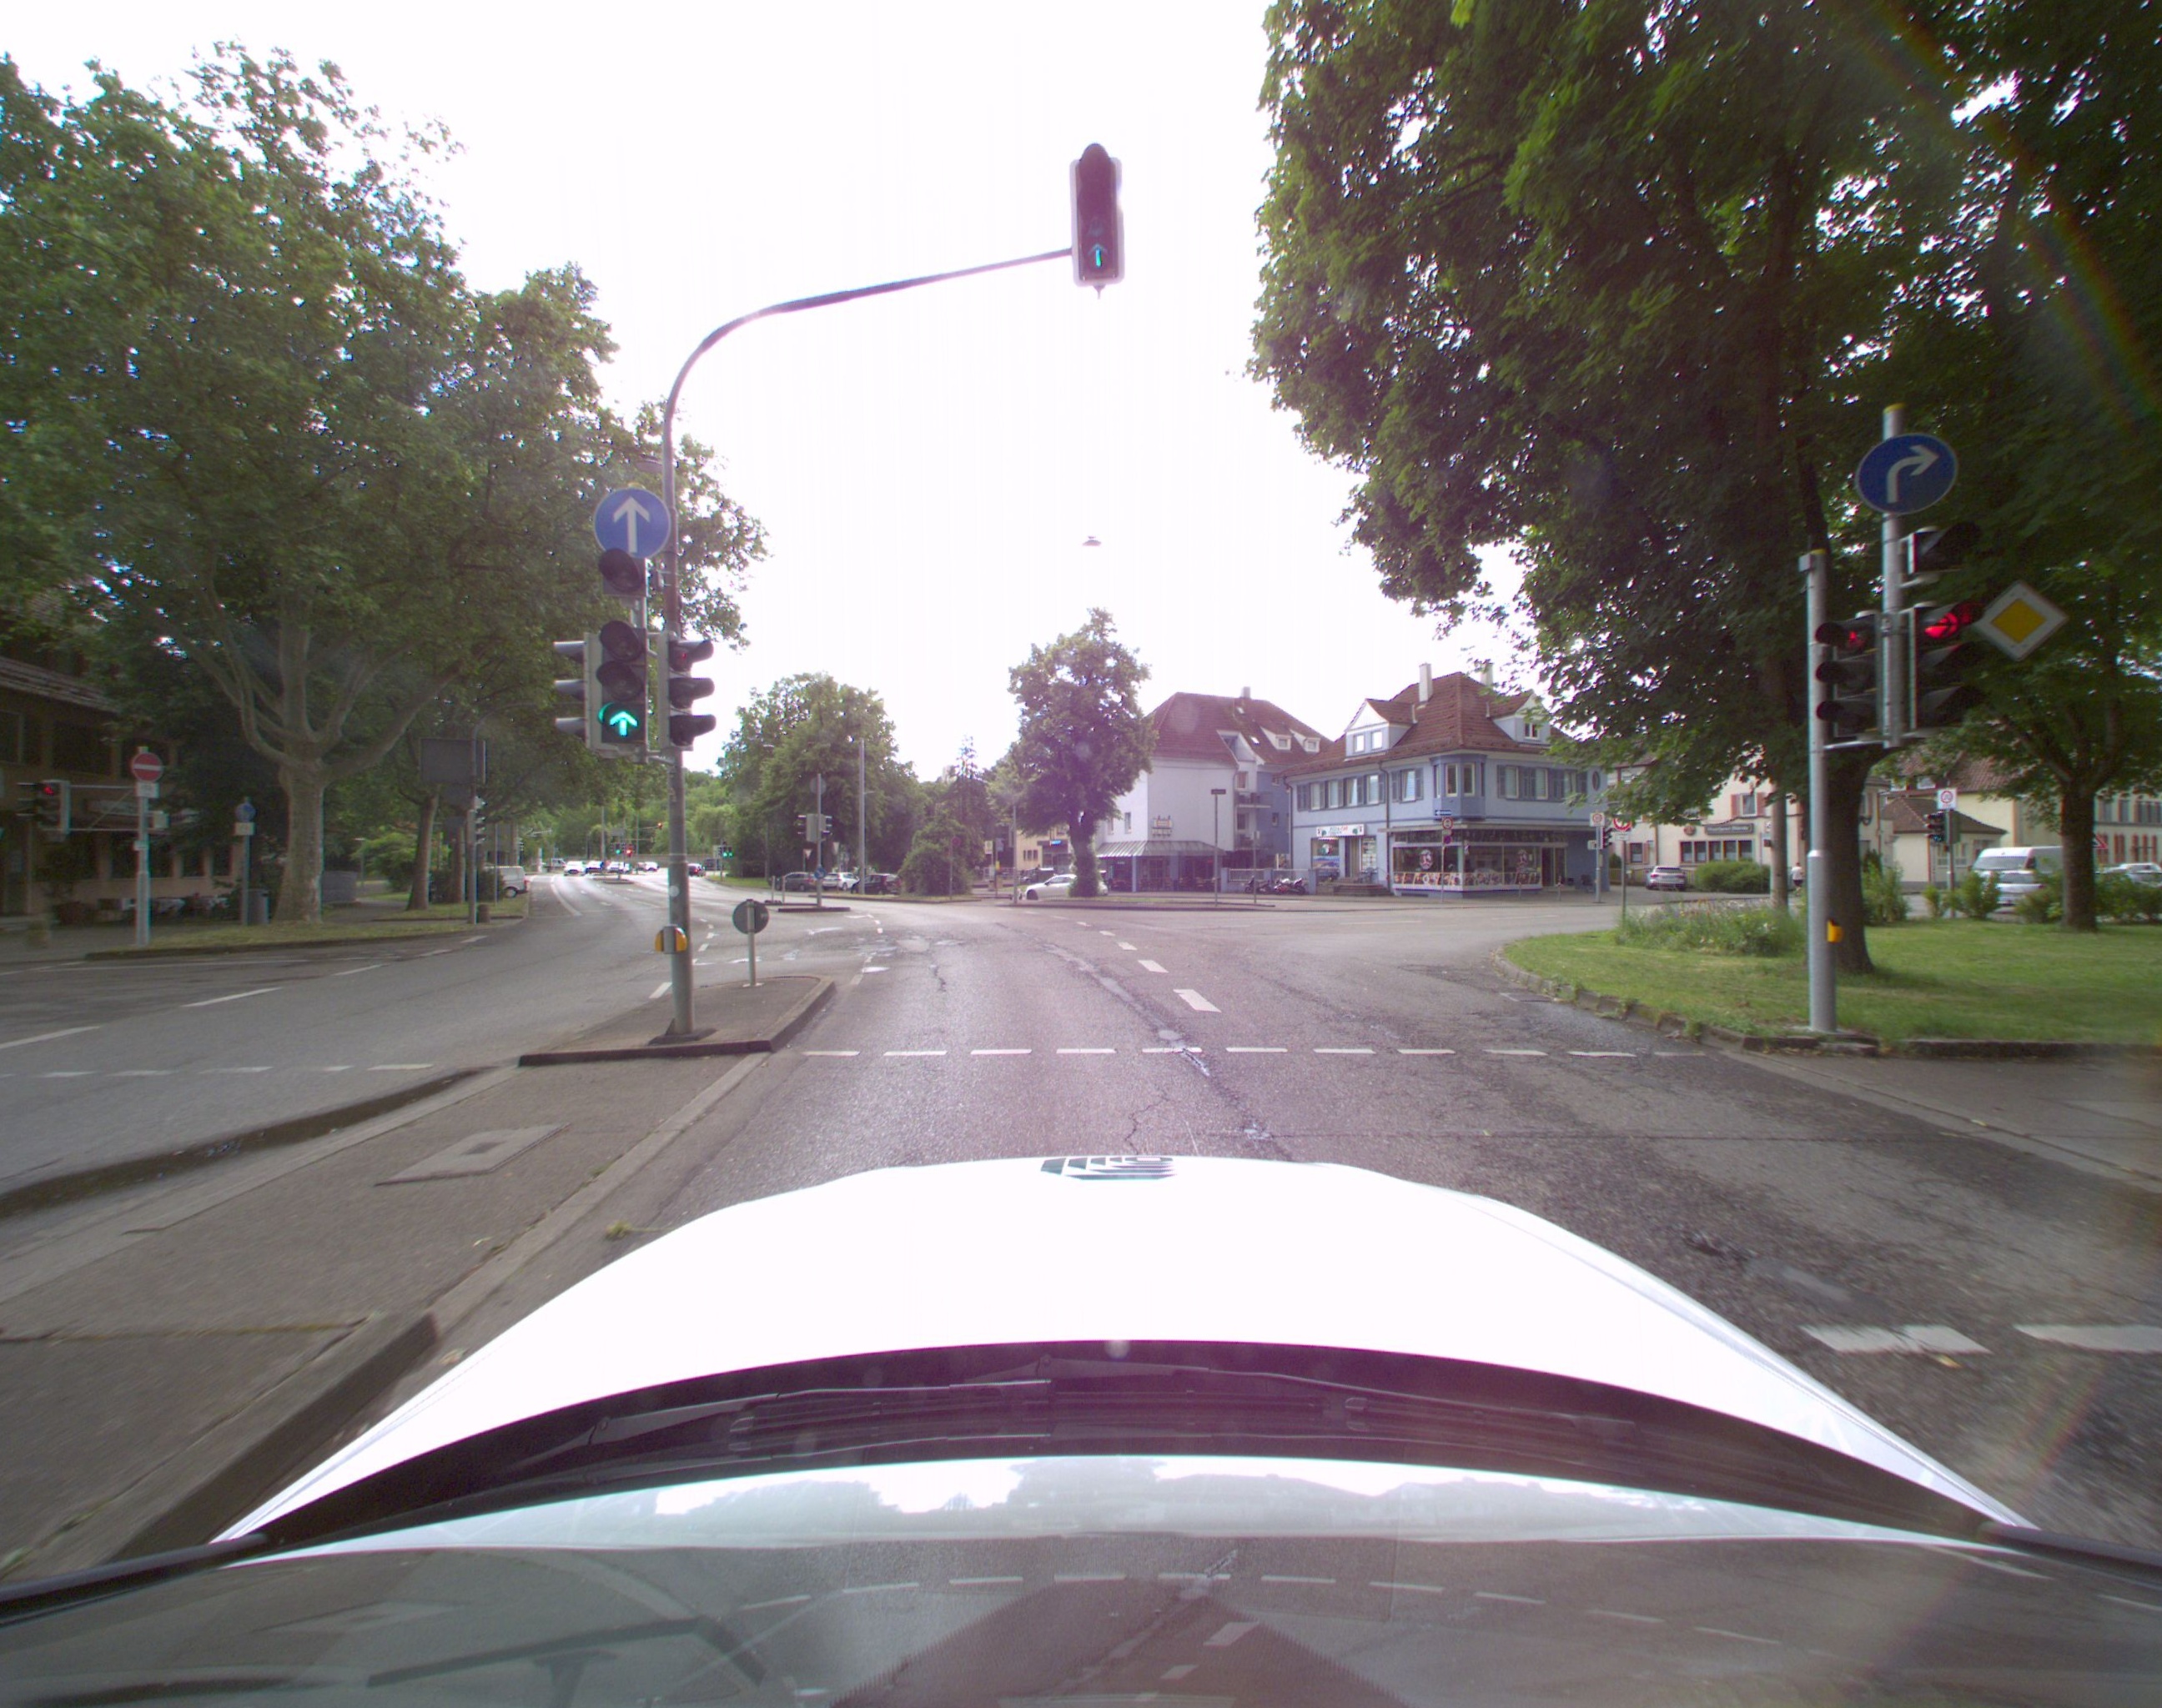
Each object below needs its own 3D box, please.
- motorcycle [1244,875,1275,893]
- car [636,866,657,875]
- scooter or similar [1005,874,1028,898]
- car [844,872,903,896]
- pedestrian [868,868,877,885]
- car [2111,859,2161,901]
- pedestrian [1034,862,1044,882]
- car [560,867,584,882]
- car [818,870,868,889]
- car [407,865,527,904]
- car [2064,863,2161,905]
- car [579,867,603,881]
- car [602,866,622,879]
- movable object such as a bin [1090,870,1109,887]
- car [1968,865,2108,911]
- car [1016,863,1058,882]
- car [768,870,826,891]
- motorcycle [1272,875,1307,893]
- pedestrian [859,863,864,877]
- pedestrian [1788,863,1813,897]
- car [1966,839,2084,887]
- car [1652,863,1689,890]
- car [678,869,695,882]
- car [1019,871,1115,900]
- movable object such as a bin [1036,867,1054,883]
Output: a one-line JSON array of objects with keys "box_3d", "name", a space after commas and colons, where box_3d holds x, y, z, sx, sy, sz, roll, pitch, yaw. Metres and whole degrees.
[{"box_3d": [10.112, 1.691, 46.132, 0.492, 1.031, 1.704, 0, -1, -44], "name": "motorcycle"}, {"box_3d": [-75.538, 2.838, 141.679, 3.062, 1.239, 1.430, 1, 12, -19], "name": "car"}, {"box_3d": [-3.098, 1.548, 39.356, 0.407, 1.167, 1.370, -1, -3, 29], "name": "scooter or similar"}, {"box_3d": [-12.918, 1.843, 50.611, 3.450, 1.404, 1.583, 0, -1, 31], "name": "car"}, {"box_3d": [-19.453, 2.055, 75.932, 0.687, 1.551, 0.736, 0, -1, -29], "name": "pedestrian"}, {"box_3d": [42.965, 0.979, 32.227, 4.007, 1.572, 1.858, -1, -1, -26], "name": "car"}, {"box_3d": [-3.669, 1.568, 71.506, 0.691, 1.729, 0.606, 0, -2, -29], "name": "pedestrian"}, {"box_3d": [-53.592, 2.124, 85.748, 1.772, 1.466, 3.985, -1, -1, -27], "name": "car"}, {"box_3d": [-18.782, 2.009, 64.421, 1.746, 1.381, 4.279, 0, -1, 15], "name": "car"}, {"box_3d": [-35.823, 1.745, 47.607, 2.058, 1.931, 5.275, -1, 1, 43], "name": "car"}, {"box_3d": [39.000, 1.094, 30.475, 3.963, 1.456, 1.787, 0, -1, -23], "name": "car"}, {"box_3d": [-62.097, 2.514, 103.224, 1.804, 1.586, 4.383, -2, 1, -22], "name": "car"}, {"box_3d": [-65.901, 2.572, 114.544, 1.919, 1.763, 4.715, 0, 0, -23], "name": "car"}, {"box_3d": [1.510, 2.013, 66.964, 1.218, 1.395, 1.154, -1, -1, -19], "name": "movable object such as a bin"}, {"box_3d": [33.502, 1.143, 28.500, 4.551, 1.456, 1.886, 0, -1, -23], "name": "car"}, {"box_3d": [-3.905, 1.631, 72.557, 3.427, 1.631, 1.612, -1, -1, -22], "name": "car"}, {"box_3d": [-21.474, 1.987, 61.571, 4.062, 1.429, 1.743, 1, 0, 25], "name": "car"}, {"box_3d": [11.328, 1.631, 44.279, 0.525, 0.985, 1.800, 1, -2, -44], "name": "motorcycle"}, {"box_3d": [-24.864, 1.841, 92.112, 0.512, 1.531, 0.773, 0, -1, -19], "name": "pedestrian"}, {"box_3d": [36.062, 1.290, 40.822, 0.647, 1.697, 0.750, 0, -1, -26], "name": "pedestrian"}, {"box_3d": [49.554, 0.483, 42.745, 5.964, 2.392, 2.318, 0, -1, -23], "name": "car"}, {"box_3d": [33.442, 1.272, 46.260, 1.551, 1.462, 3.461, -1, -1, 33], "name": "car"}, {"box_3d": [-48.147, 2.619, 99.326, 1.832, 1.509, 4.533, 0, -1, -27], "name": "car"}, {"box_3d": [-0.759, 1.634, 42.126, 4.726, 1.386, 2.013, -2, -1, 37], "name": "car"}, {"box_3d": [-3.095, 1.848, 70.513, 1.223, 1.345, 0.986, 0, -1, -28], "name": "movable object such as a bin"}]
